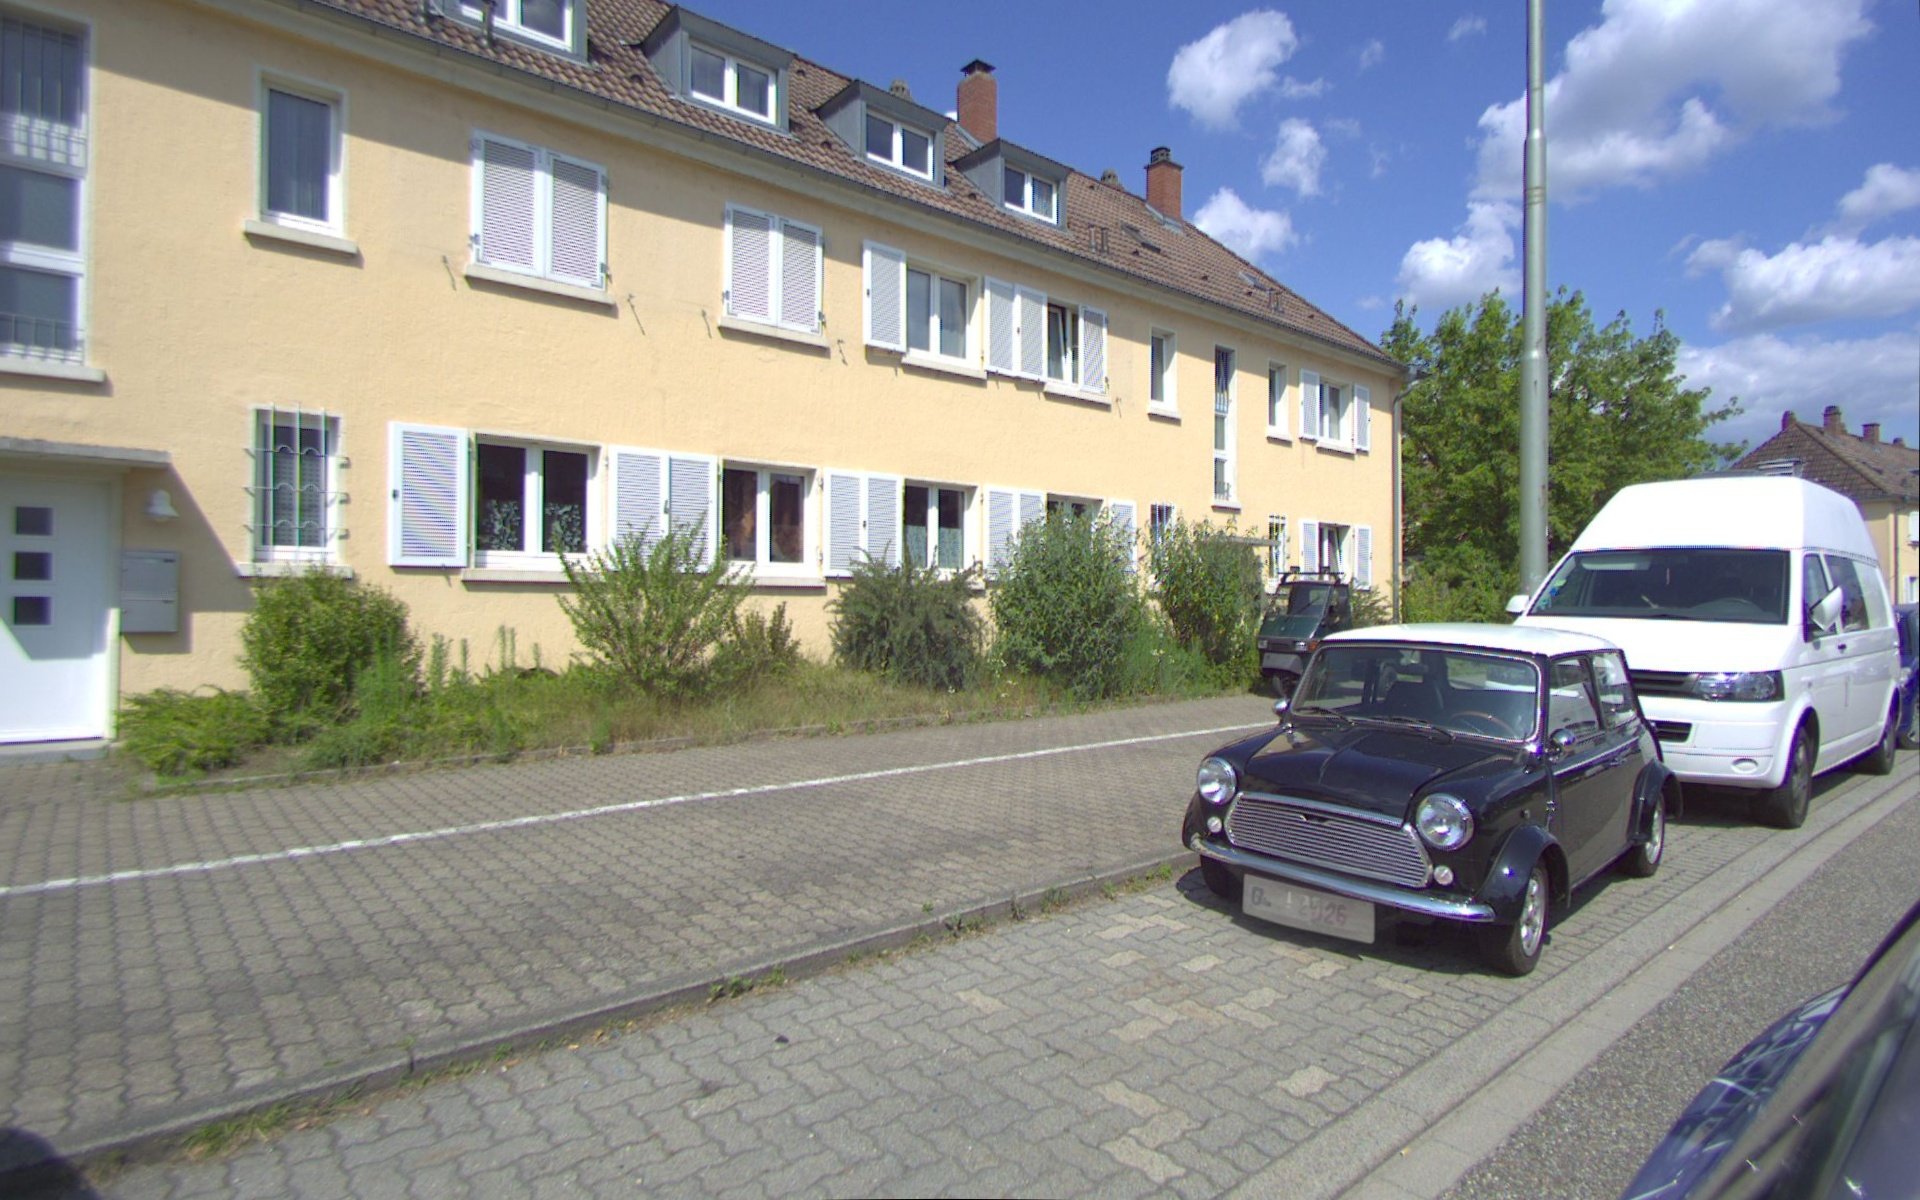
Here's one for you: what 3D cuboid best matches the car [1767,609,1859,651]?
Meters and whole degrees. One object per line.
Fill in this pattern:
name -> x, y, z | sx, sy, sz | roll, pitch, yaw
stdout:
car -> 30.242, 1.013, 35.854 | 4.012, 1.391, 1.640 | 0, 0, -37

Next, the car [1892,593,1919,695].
car -> 17.052, 0.710, 16.948 | 3.861, 1.623, 1.639 | 0, -1, -40

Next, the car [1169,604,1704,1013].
car -> 2.553, 0.722, 5.079 | 3.233, 1.357, 1.342 | -1, 0, -43

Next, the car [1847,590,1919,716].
car -> 14.012, 0.690, 14.205 | 3.955, 1.623, 1.640 | 0, -1, -38

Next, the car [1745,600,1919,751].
car -> 10.375, 0.746, 11.420 | 3.668, 1.464, 1.540 | 0, -1, -38

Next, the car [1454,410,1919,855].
car -> 6.225, 0.172, 8.185 | 5.418, 2.512, 1.933 | 0, 0, -39

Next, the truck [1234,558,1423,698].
truck -> 5.000, 0.332, 13.677 | 2.397, 1.710, 1.349 | 0, 0, -38
